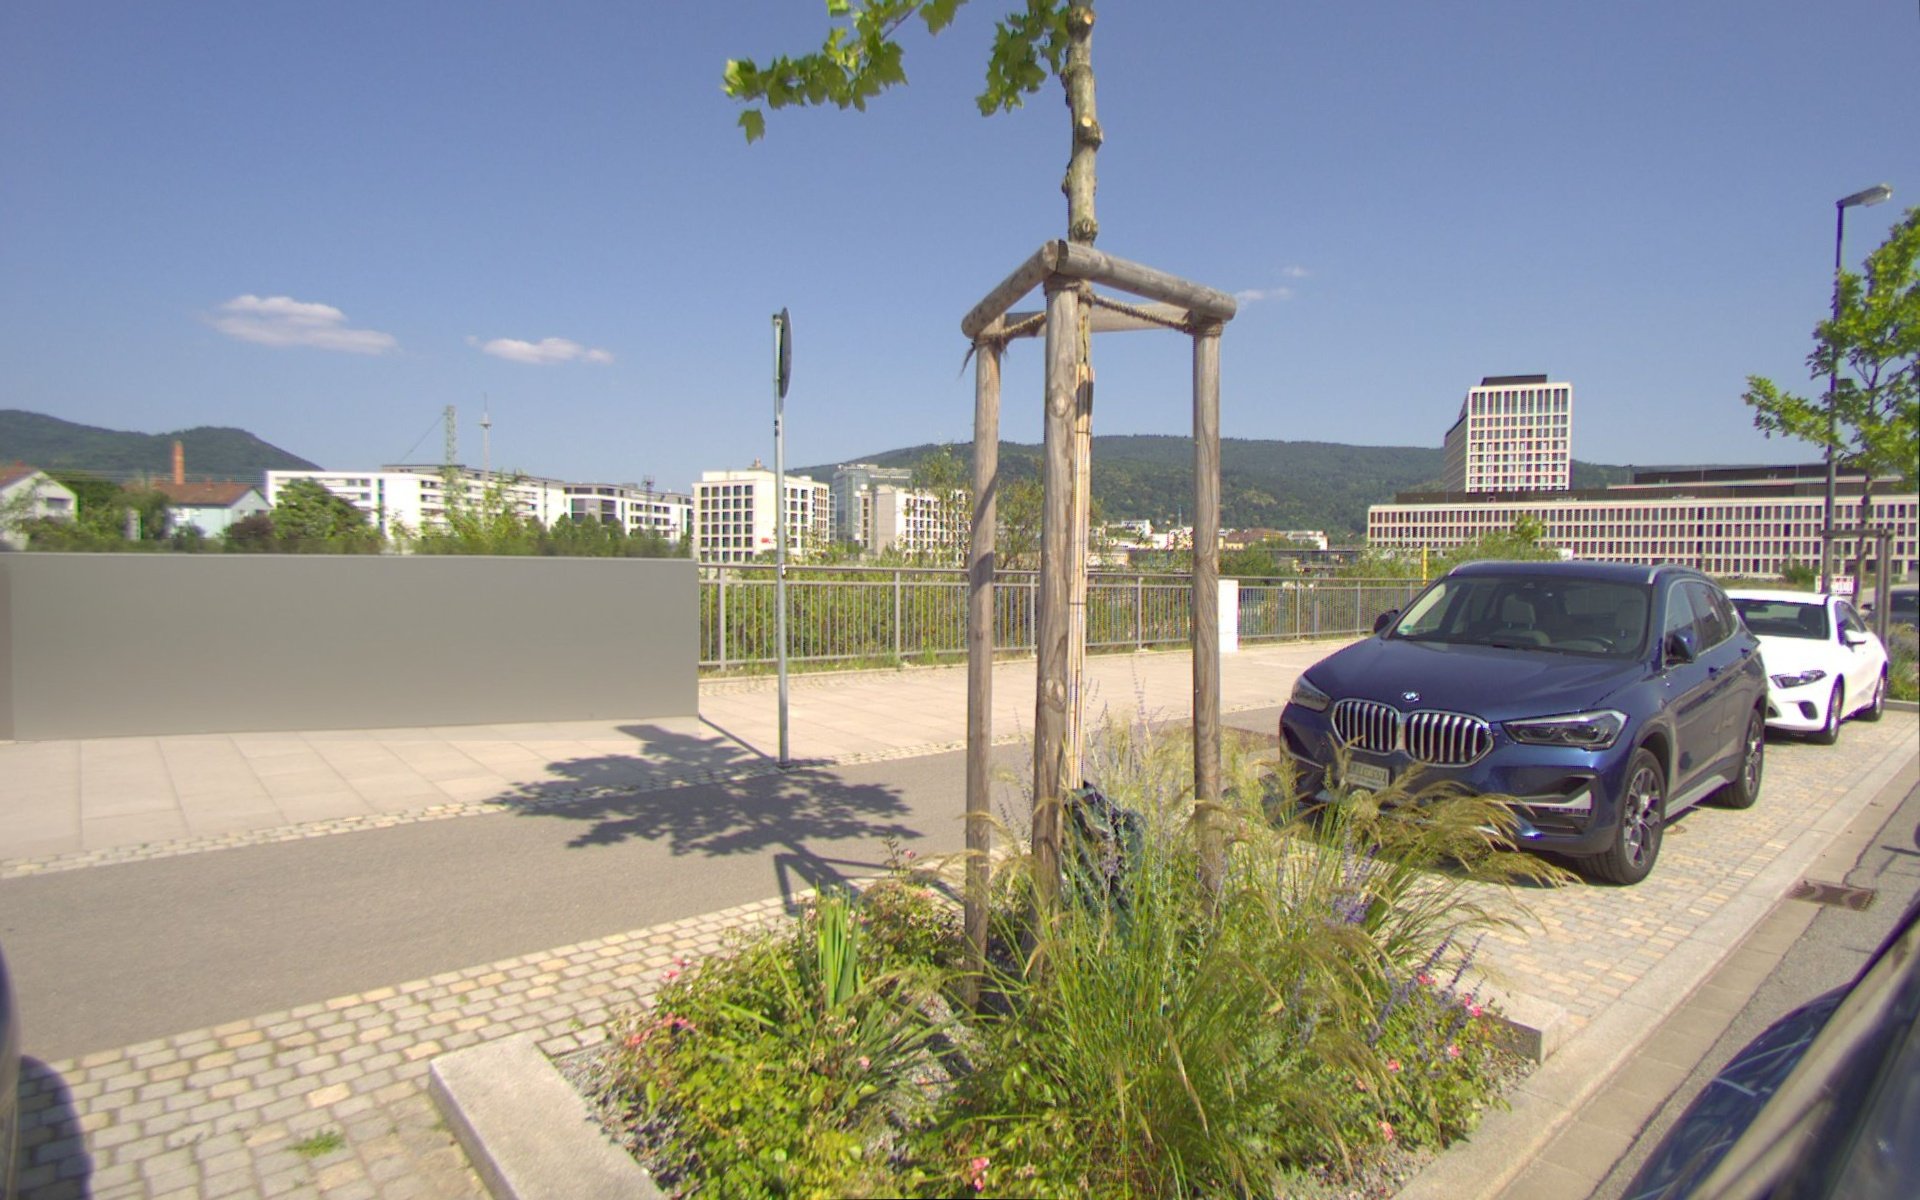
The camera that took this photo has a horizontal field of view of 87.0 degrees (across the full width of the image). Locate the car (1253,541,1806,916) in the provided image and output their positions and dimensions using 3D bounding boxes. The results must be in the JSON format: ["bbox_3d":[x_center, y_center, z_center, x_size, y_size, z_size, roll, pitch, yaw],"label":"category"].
[{"bbox_3d":[3.803,0.532,6.428,4.164,1.627,1.768,-1,0,-41],"label":"car"}]

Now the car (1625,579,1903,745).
[{"bbox_3d":[8.767,0.527,10.924,3.930,1.473,1.663,-1,0,-41],"label":"car"}]

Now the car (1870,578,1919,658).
[{"bbox_3d":[20.411,0.333,21.092,3.930,1.558,1.663,-1,0,-41],"label":"car"}]

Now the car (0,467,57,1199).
[{"bbox_3d":[-2.995,0.558,0.366,3.930,1.444,1.664,-1,3,-41],"label":"car"}]
